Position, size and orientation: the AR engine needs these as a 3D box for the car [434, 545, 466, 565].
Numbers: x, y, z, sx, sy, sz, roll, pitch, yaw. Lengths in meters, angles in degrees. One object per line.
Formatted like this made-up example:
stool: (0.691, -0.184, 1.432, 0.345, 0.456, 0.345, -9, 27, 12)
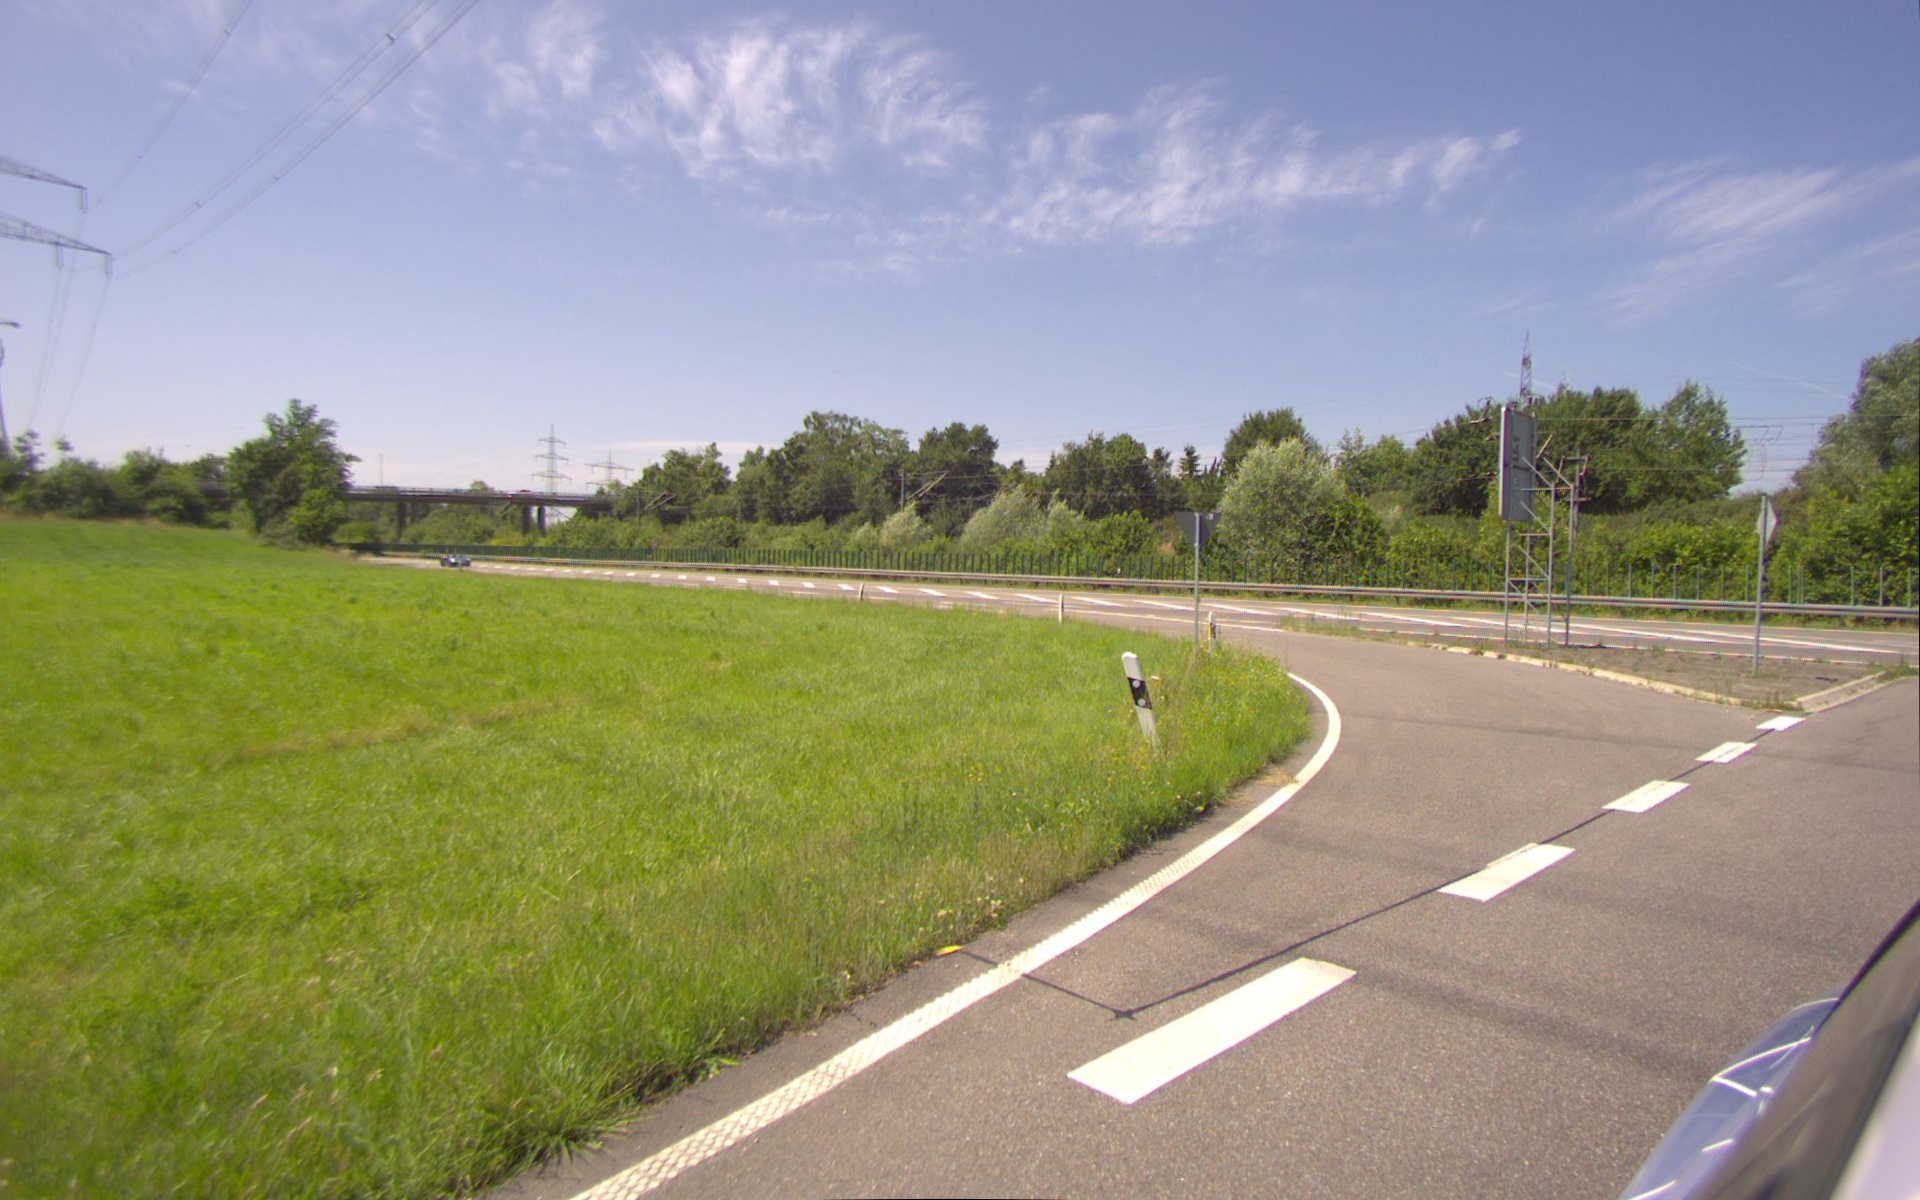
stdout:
car: (-48.602, -4.283, 96.406, 1.695, 1.745, 3.993, 0, 3, -42)
